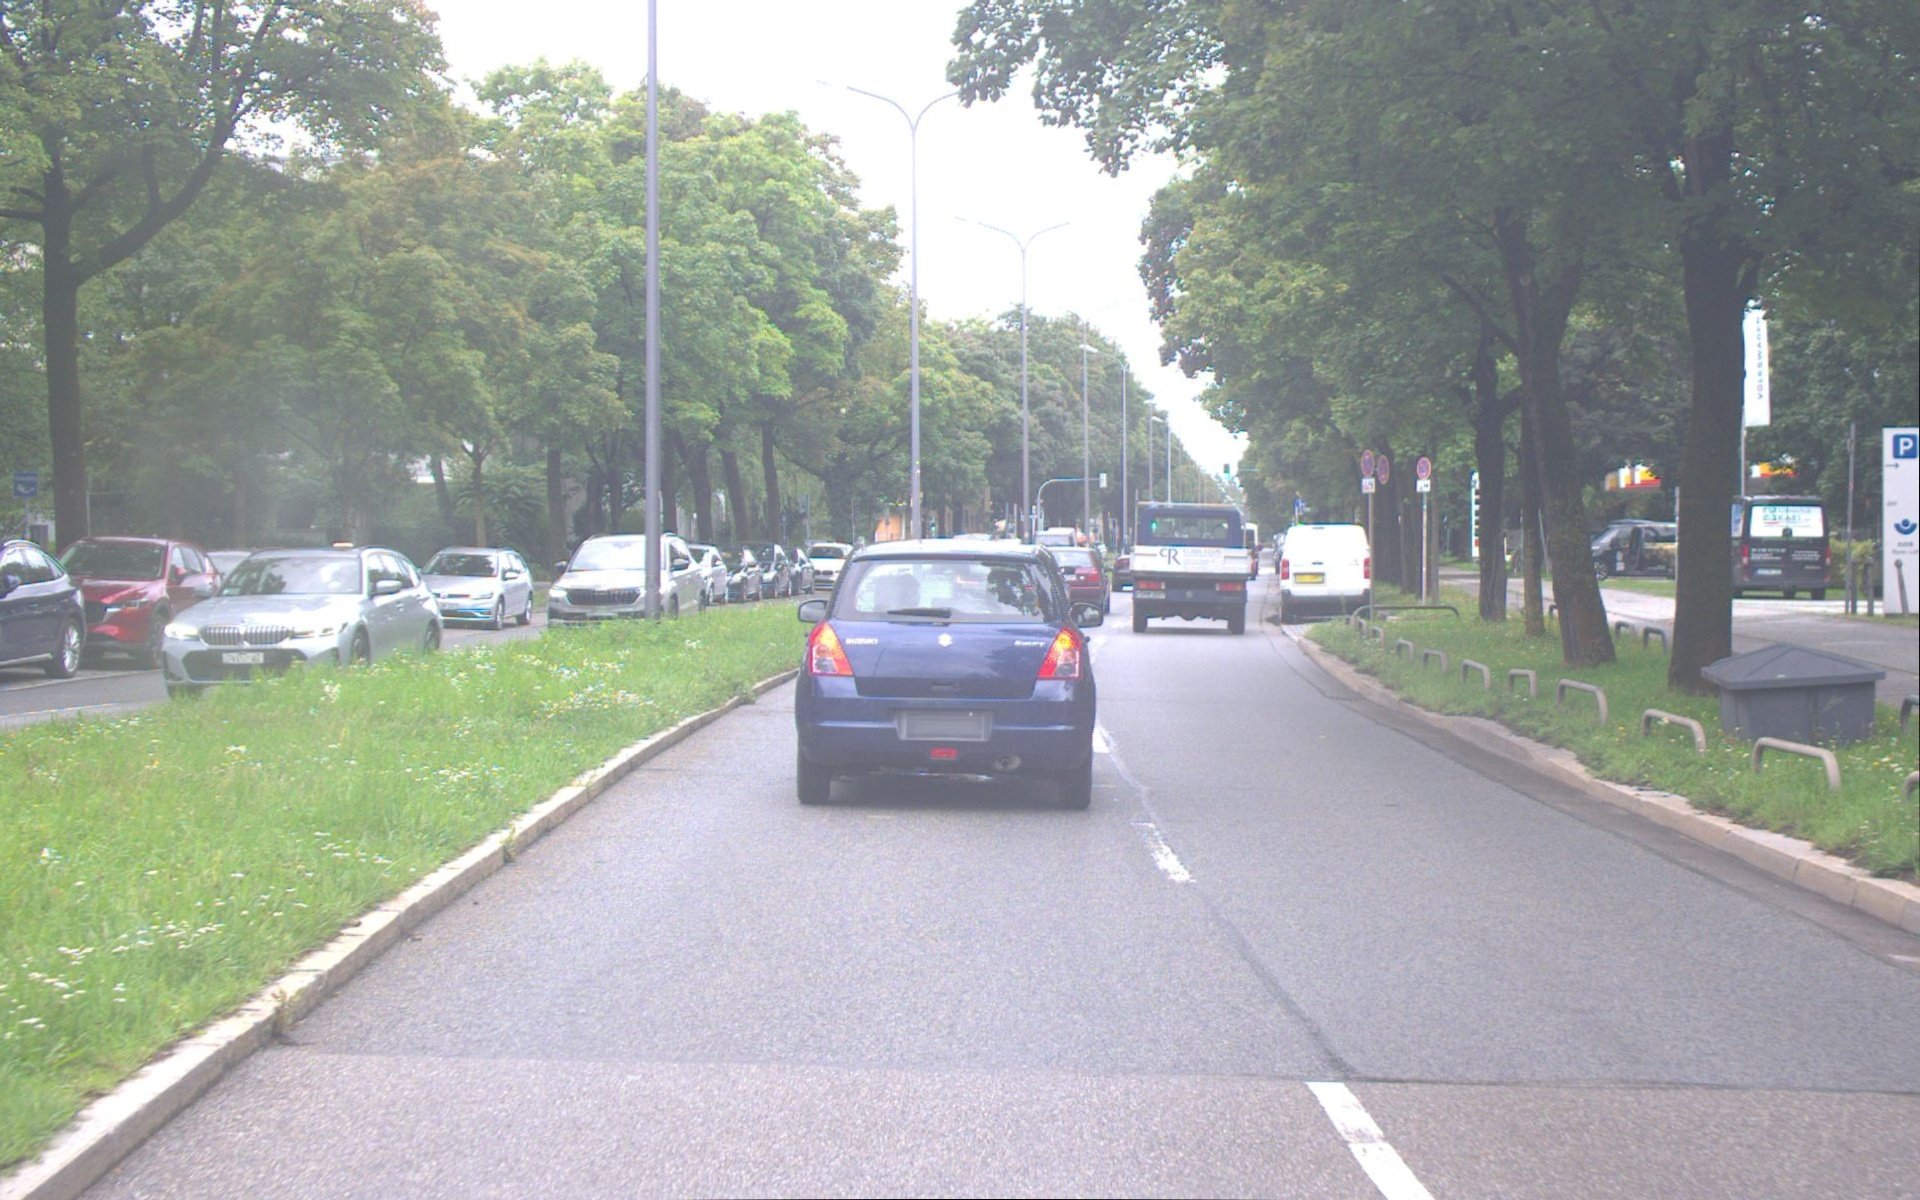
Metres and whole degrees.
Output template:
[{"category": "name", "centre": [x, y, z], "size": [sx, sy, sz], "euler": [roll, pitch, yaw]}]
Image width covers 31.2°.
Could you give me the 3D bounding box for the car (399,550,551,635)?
[{"category": "car", "centre": [-9.052, -0.175, 64.522], "size": [1.737, 1.443, 4.822], "euler": [3, 1, 5]}]

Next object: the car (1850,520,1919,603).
[{"category": "car", "centre": [21.287, -0.879, 76.838], "size": [1.842, 1.812, 4.471], "euler": [-1, 1, 3]}]

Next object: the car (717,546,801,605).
[{"category": "car", "centre": [-5.739, -0.725, 98.428], "size": [1.686, 1.591, 4.209], "euler": [2, 1, 6]}]

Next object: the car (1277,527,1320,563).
[{"category": "car", "centre": [14.516, -2.371, 147.535], "size": [1.761, 1.449, 4.632], "euler": [-2, 1, 5]}]

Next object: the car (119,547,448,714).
[{"category": "car", "centre": [-6.451, 0.241, 33.377], "size": [1.915, 1.479, 4.864], "euler": [-1, 1, 4]}]

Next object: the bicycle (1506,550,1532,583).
[{"category": "bicycle", "centre": [20.008, -1.204, 123.138], "size": [0.748, 1.179, 2.246], "euler": [0, 1, 5]}]

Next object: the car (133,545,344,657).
[{"category": "car", "centre": [-10.382, -0.028, 49.760], "size": [1.739, 1.477, 4.333], "euler": [2, 1, 5]}]

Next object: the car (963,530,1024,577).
[{"category": "car", "centre": [1.190, -1.654, 121.948], "size": [1.834, 1.637, 4.350], "euler": [-1, 1, 5]}]

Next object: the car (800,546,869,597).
[{"category": "car", "centre": [-4.183, -0.965, 114.868], "size": [1.757, 1.589, 4.489], "euler": [2, 1, 4]}]

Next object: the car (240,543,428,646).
[{"category": "car", "centre": [-9.886, -0.120, 54.610], "size": [1.739, 1.524, 4.474], "euler": [2, 1, 5]}]

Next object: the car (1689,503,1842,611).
[{"category": "car", "centre": [17.880, -0.970, 76.583], "size": [2.265, 2.299, 6.268], "euler": [-1, 1, 3]}]

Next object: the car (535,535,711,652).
[{"category": "car", "centre": [-4.906, -0.126, 50.644], "size": [1.766, 1.619, 4.376], "euler": [-1, 1, 5]}]

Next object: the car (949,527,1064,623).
[{"category": "car", "centre": [0.775, -0.423, 55.885], "size": [1.799, 1.494, 3.660], "euler": [0, 1, 2]}]

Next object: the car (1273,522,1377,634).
[{"category": "car", "centre": [7.374, -0.476, 69.660], "size": [1.987, 2.150, 5.554], "euler": [-1, 1, 5]}]

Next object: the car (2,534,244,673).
[{"category": "car", "centre": [-10.818, -0.004, 44.764], "size": [1.739, 1.646, 4.606], "euler": [2, 1, 3]}]

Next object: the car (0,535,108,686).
[{"category": "car", "centre": [-11.290, 0.087, 38.853], "size": [1.739, 1.638, 4.684], "euler": [1, 1, 5]}]

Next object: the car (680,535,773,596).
[{"category": "car", "centre": [-6.278, -0.941, 92.860], "size": [1.716, 1.519, 5.034], "euler": [3, 1, 5]}]

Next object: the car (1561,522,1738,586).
[{"category": "car", "centre": [22.523, -1.497, 112.477], "size": [5.471, 2.076, 2.147], "euler": [0, 1, 5]}]

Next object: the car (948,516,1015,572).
[{"category": "car", "centre": [0.901, -2.283, 139.926], "size": [2.209, 2.186, 5.798], "euler": [-2, 1, 5]}]

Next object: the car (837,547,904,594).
[{"category": "car", "centre": [-3.230, -1.095, 125.103], "size": [1.832, 1.604, 4.490], "euler": [2, 1, 6]}]

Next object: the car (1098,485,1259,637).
[{"category": "car", "centre": [3.796, -0.684, 58.756], "size": [2.419, 2.436, 5.085], "euler": [1, 1, 7]}]

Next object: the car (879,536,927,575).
[{"category": "car", "centre": [-2.271, -1.786, 137.938], "size": [1.691, 1.560, 3.079], "euler": [0, 1, 3]}]

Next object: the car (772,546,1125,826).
[{"category": "car", "centre": [0.007, 0.436, 20.441], "size": [1.896, 1.494, 3.660], "euler": [1, 1, 2]}]
